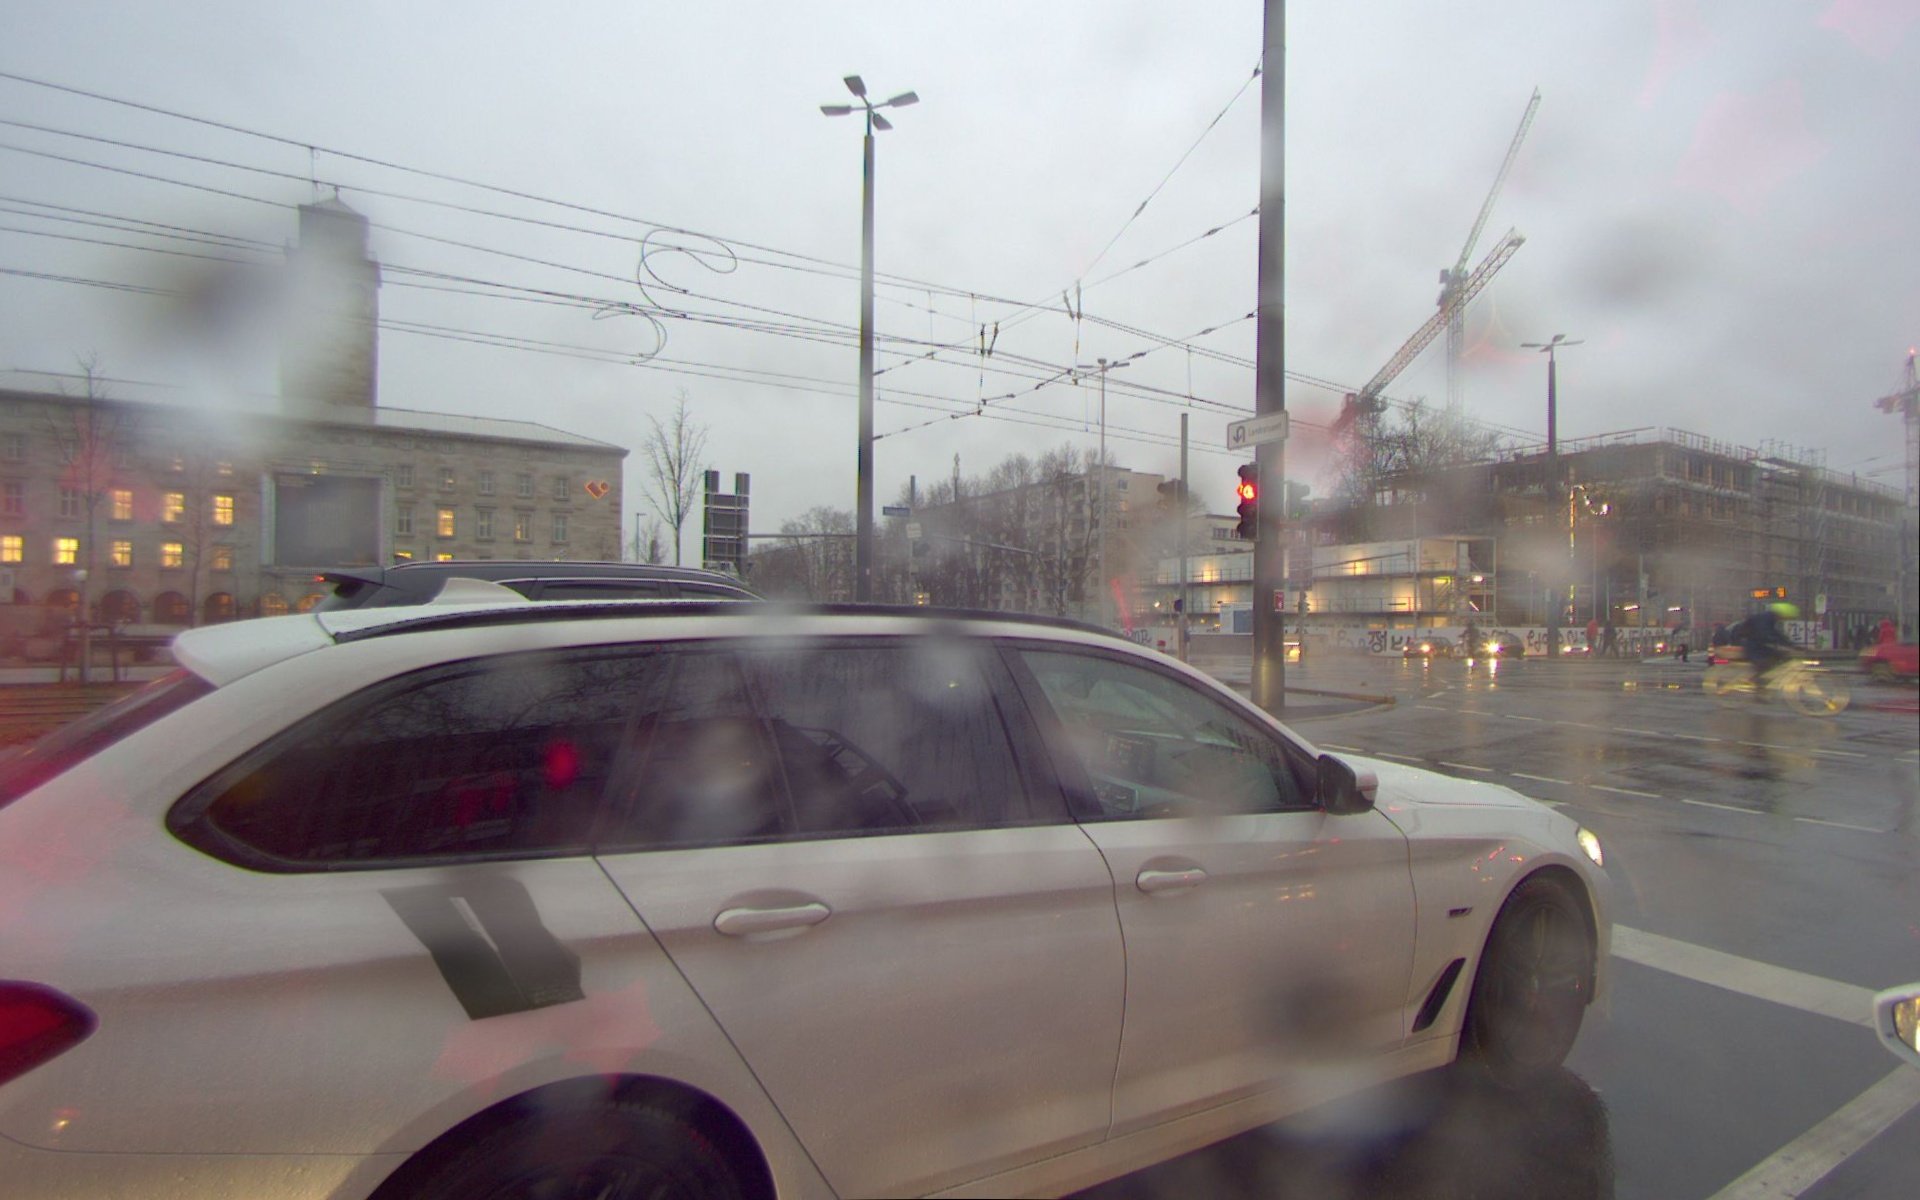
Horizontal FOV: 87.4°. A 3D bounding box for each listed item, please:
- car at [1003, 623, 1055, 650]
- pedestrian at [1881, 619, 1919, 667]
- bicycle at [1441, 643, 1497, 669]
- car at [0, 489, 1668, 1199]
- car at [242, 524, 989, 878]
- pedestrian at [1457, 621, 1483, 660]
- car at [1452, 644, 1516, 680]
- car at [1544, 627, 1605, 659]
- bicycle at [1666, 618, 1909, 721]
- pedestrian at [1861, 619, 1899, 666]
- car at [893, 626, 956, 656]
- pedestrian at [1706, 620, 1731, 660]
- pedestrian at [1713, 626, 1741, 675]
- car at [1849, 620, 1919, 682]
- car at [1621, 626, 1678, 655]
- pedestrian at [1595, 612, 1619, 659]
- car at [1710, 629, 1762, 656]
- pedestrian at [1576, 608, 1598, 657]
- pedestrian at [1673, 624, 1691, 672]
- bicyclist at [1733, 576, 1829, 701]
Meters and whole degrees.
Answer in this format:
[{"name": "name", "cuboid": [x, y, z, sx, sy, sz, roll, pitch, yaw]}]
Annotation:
[{"name": "car", "cuboid": [4.587, 2.434, 67.476, 1.683, 1.785, 4.292, 1, -2, -24]}, {"name": "pedestrian", "cuboid": [34.127, 1.543, 36.436, 0.664, 1.710, 0.845, 1, -1, -6]}, {"name": "bicycle", "cuboid": [21.512, 2.356, 42.492, 0.536, 1.004, 2.117, 7, -4, -32]}, {"name": "car", "cuboid": [-0.107, 0.697, 3.005, 4.868, 1.540, 1.900, 2, -2, -32]}, {"name": "car", "cuboid": [-2.136, 0.574, 7.007, 4.564, 1.766, 1.692, 2, -2, -34]}, {"name": "pedestrian", "cuboid": [21.567, 1.720, 42.488, 0.530, 1.590, 0.810, 4, -2, -32]}, {"name": "car", "cuboid": [30.981, 3.632, 59.416, 3.960, 2.040, 1.744, 1, -2, -35]}, {"name": "car", "cuboid": [40.531, 2.819, 66.197, 3.959, 2.040, 1.981, 2, -2, -34]}, {"name": "bicycle", "cuboid": [12.764, 1.019, 15.628, 0.714, 1.380, 2.808, 2, 0, -38]}, {"name": "pedestrian", "cuboid": [33.451, 1.535, 36.539, 0.607, 1.701, 0.833, 1, -1, -3]}, {"name": "car", "cuboid": [-2.119, 2.418, 59.336, 1.978, 1.706, 3.965, 1, -2, -33]}, {"name": "pedestrian", "cuboid": [31.227, 1.631, 41.356, 0.675, 1.640, 0.701, 2, -2, -39]}, {"name": "pedestrian", "cuboid": [31.987, 2.095, 41.912, 0.741, 2.040, 0.785, 2, -2, -40]}, {"name": "car", "cuboid": [25.530, 1.332, 25.919, 1.656, 1.603, 3.555, 2, -2, -28]}, {"name": "car", "cuboid": [49.688, 2.926, 72.391, 3.956, 2.040, 1.983, 2, -2, -32]}, {"name": "pedestrian", "cuboid": [27.844, 1.524, 43.259, 0.762, 2.040, 0.613, 0, -1, 22]}, {"name": "car", "cuboid": [60.915, 3.340, 78.832, 3.955, 2.040, 1.983, 2, -2, -31]}, {"name": "pedestrian", "cuboid": [27.041, 1.407, 43.325, 0.674, 2.115, 0.613, 0, -1, 20]}, {"name": "pedestrian", "cuboid": [31.147, 2.076, 43.346, 0.635, 2.040, 0.503, 1, -1, -40]}, {"name": "bicyclist", "cuboid": [12.755, 0.577, 15.611, 0.715, 1.863, 0.986, 2, 0, -39]}]
